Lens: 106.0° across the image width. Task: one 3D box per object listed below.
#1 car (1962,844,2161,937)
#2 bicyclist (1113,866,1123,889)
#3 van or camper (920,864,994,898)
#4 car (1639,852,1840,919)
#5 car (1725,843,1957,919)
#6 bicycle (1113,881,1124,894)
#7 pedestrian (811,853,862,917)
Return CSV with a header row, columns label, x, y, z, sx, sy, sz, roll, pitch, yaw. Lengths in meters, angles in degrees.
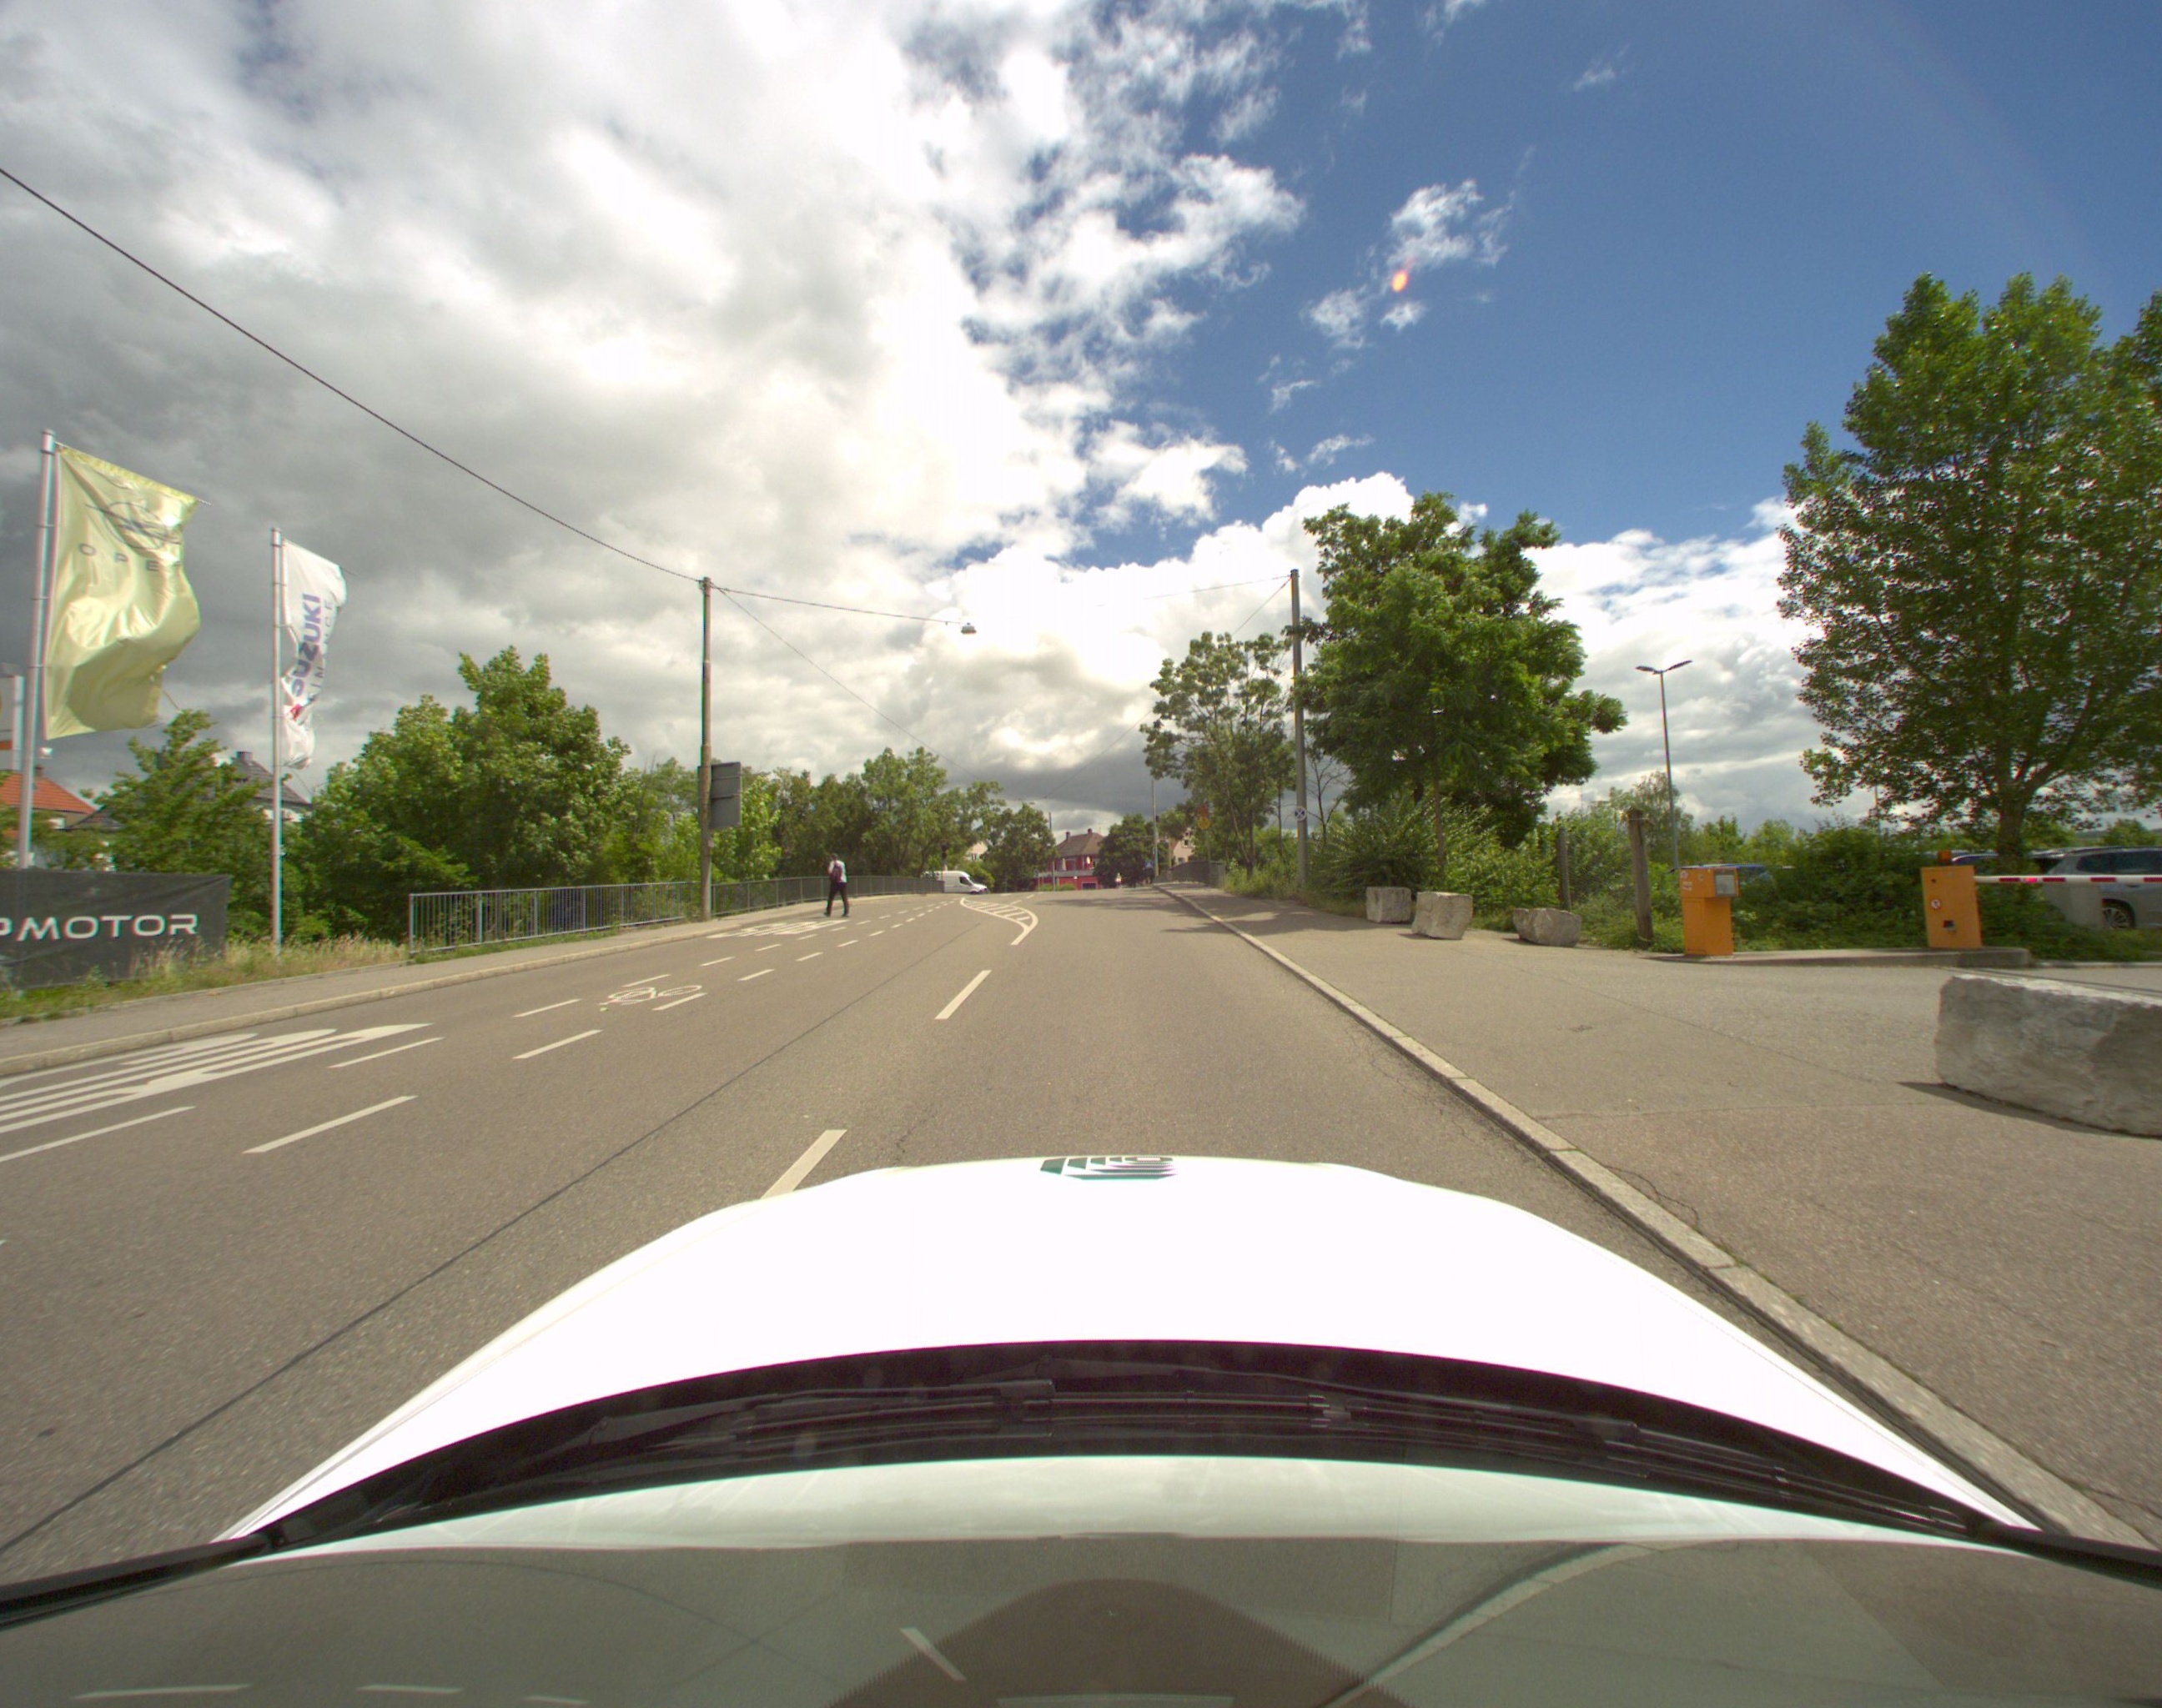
label,x,y,z,sx,sy,sz,roll,pitch,yaw
car,18.179,0.655,13.944,3.964,1.486,1.780,1,-3,8
bicyclist,3.007,1.922,66.325,0.681,1.826,1.082,-2,-7,6
van or camper,-10.770,2.390,70.936,5.884,2.568,2.195,-3,-5,3
car,17.886,0.833,22.202,4.337,1.670,1.864,-1,-2,-11
car,18.254,0.645,19.637,4.337,1.670,1.864,-1,-2,-11
bicycle,3.044,2.731,66.353,0.684,0.879,2.105,-2,-6,7
pedestrian,-7.307,0.912,24.365,1.023,1.837,1.005,-2,-1,35
